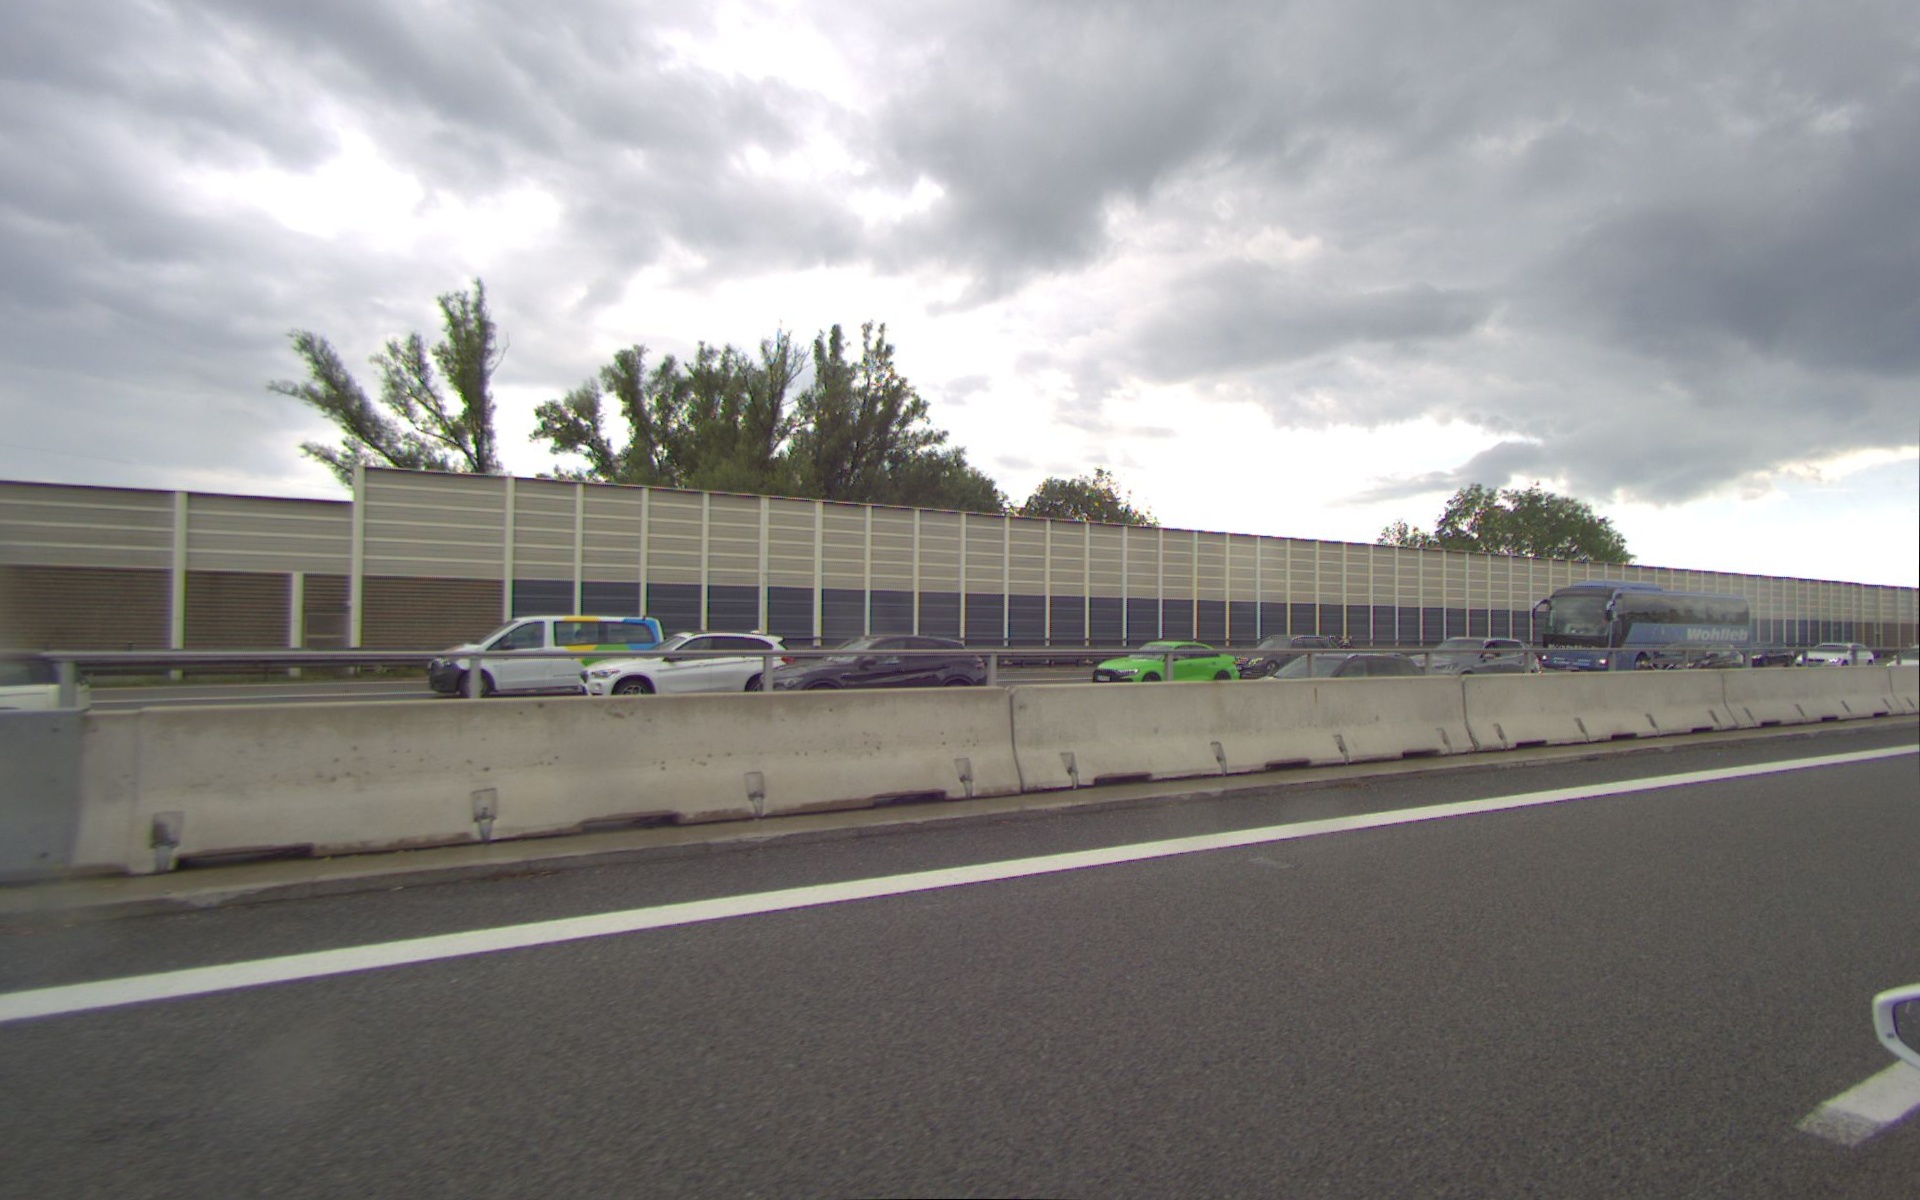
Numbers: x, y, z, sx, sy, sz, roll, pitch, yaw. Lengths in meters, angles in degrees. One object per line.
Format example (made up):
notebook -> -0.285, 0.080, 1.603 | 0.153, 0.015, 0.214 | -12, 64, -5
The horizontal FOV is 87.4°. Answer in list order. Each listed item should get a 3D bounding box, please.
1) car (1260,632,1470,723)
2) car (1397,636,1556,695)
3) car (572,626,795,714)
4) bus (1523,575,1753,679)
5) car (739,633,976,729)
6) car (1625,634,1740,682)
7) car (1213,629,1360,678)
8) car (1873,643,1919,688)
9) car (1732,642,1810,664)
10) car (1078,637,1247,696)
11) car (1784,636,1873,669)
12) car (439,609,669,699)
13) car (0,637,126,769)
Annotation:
car -> 8.104, 1.461, 20.029 | 4.128, 1.629, 1.739 | 1, -1, -30
car -> 14.955, 1.837, 29.013 | 4.868, 1.546, 1.739 | 1, -1, -30
car -> -5.662, 1.369, 20.670 | 4.128, 1.632, 1.739 | 1, -1, -30
bus -> 28.082, 1.109, 41.339 | 11.740, 3.808, 3.078 | 1, -1, -30
car -> -1.954, 1.464, 19.315 | 4.128, 1.632, 1.926 | 1, -1, -30
car -> 25.279, 1.984, 35.116 | 4.128, 1.546, 1.739 | 1, -1, -30
car -> 11.797, 1.873, 36.109 | 5.620, 1.632, 1.739 | 1, -1, -30
car -> 35.325, 2.374, 36.703 | 4.128, 1.546, 1.739 | 1, -1, -30
car -> 44.058, 2.853, 54.552 | 4.440, 1.129, 1.874 | 1, -1, -30
car -> 5.601, 1.764, 27.549 | 4.663, 1.449, 1.738 | 1, -1, -32
car -> 43.115, 2.577, 49.844 | 4.763, 1.546, 1.874 | 1, -1, -30
car -> -9.362, 1.199, 23.298 | 4.727, 1.918, 1.739 | 1, -1, -31
car -> -12.962, 1.280, 12.604 | 3.576, 1.601, 1.613 | 1, -1, -30
